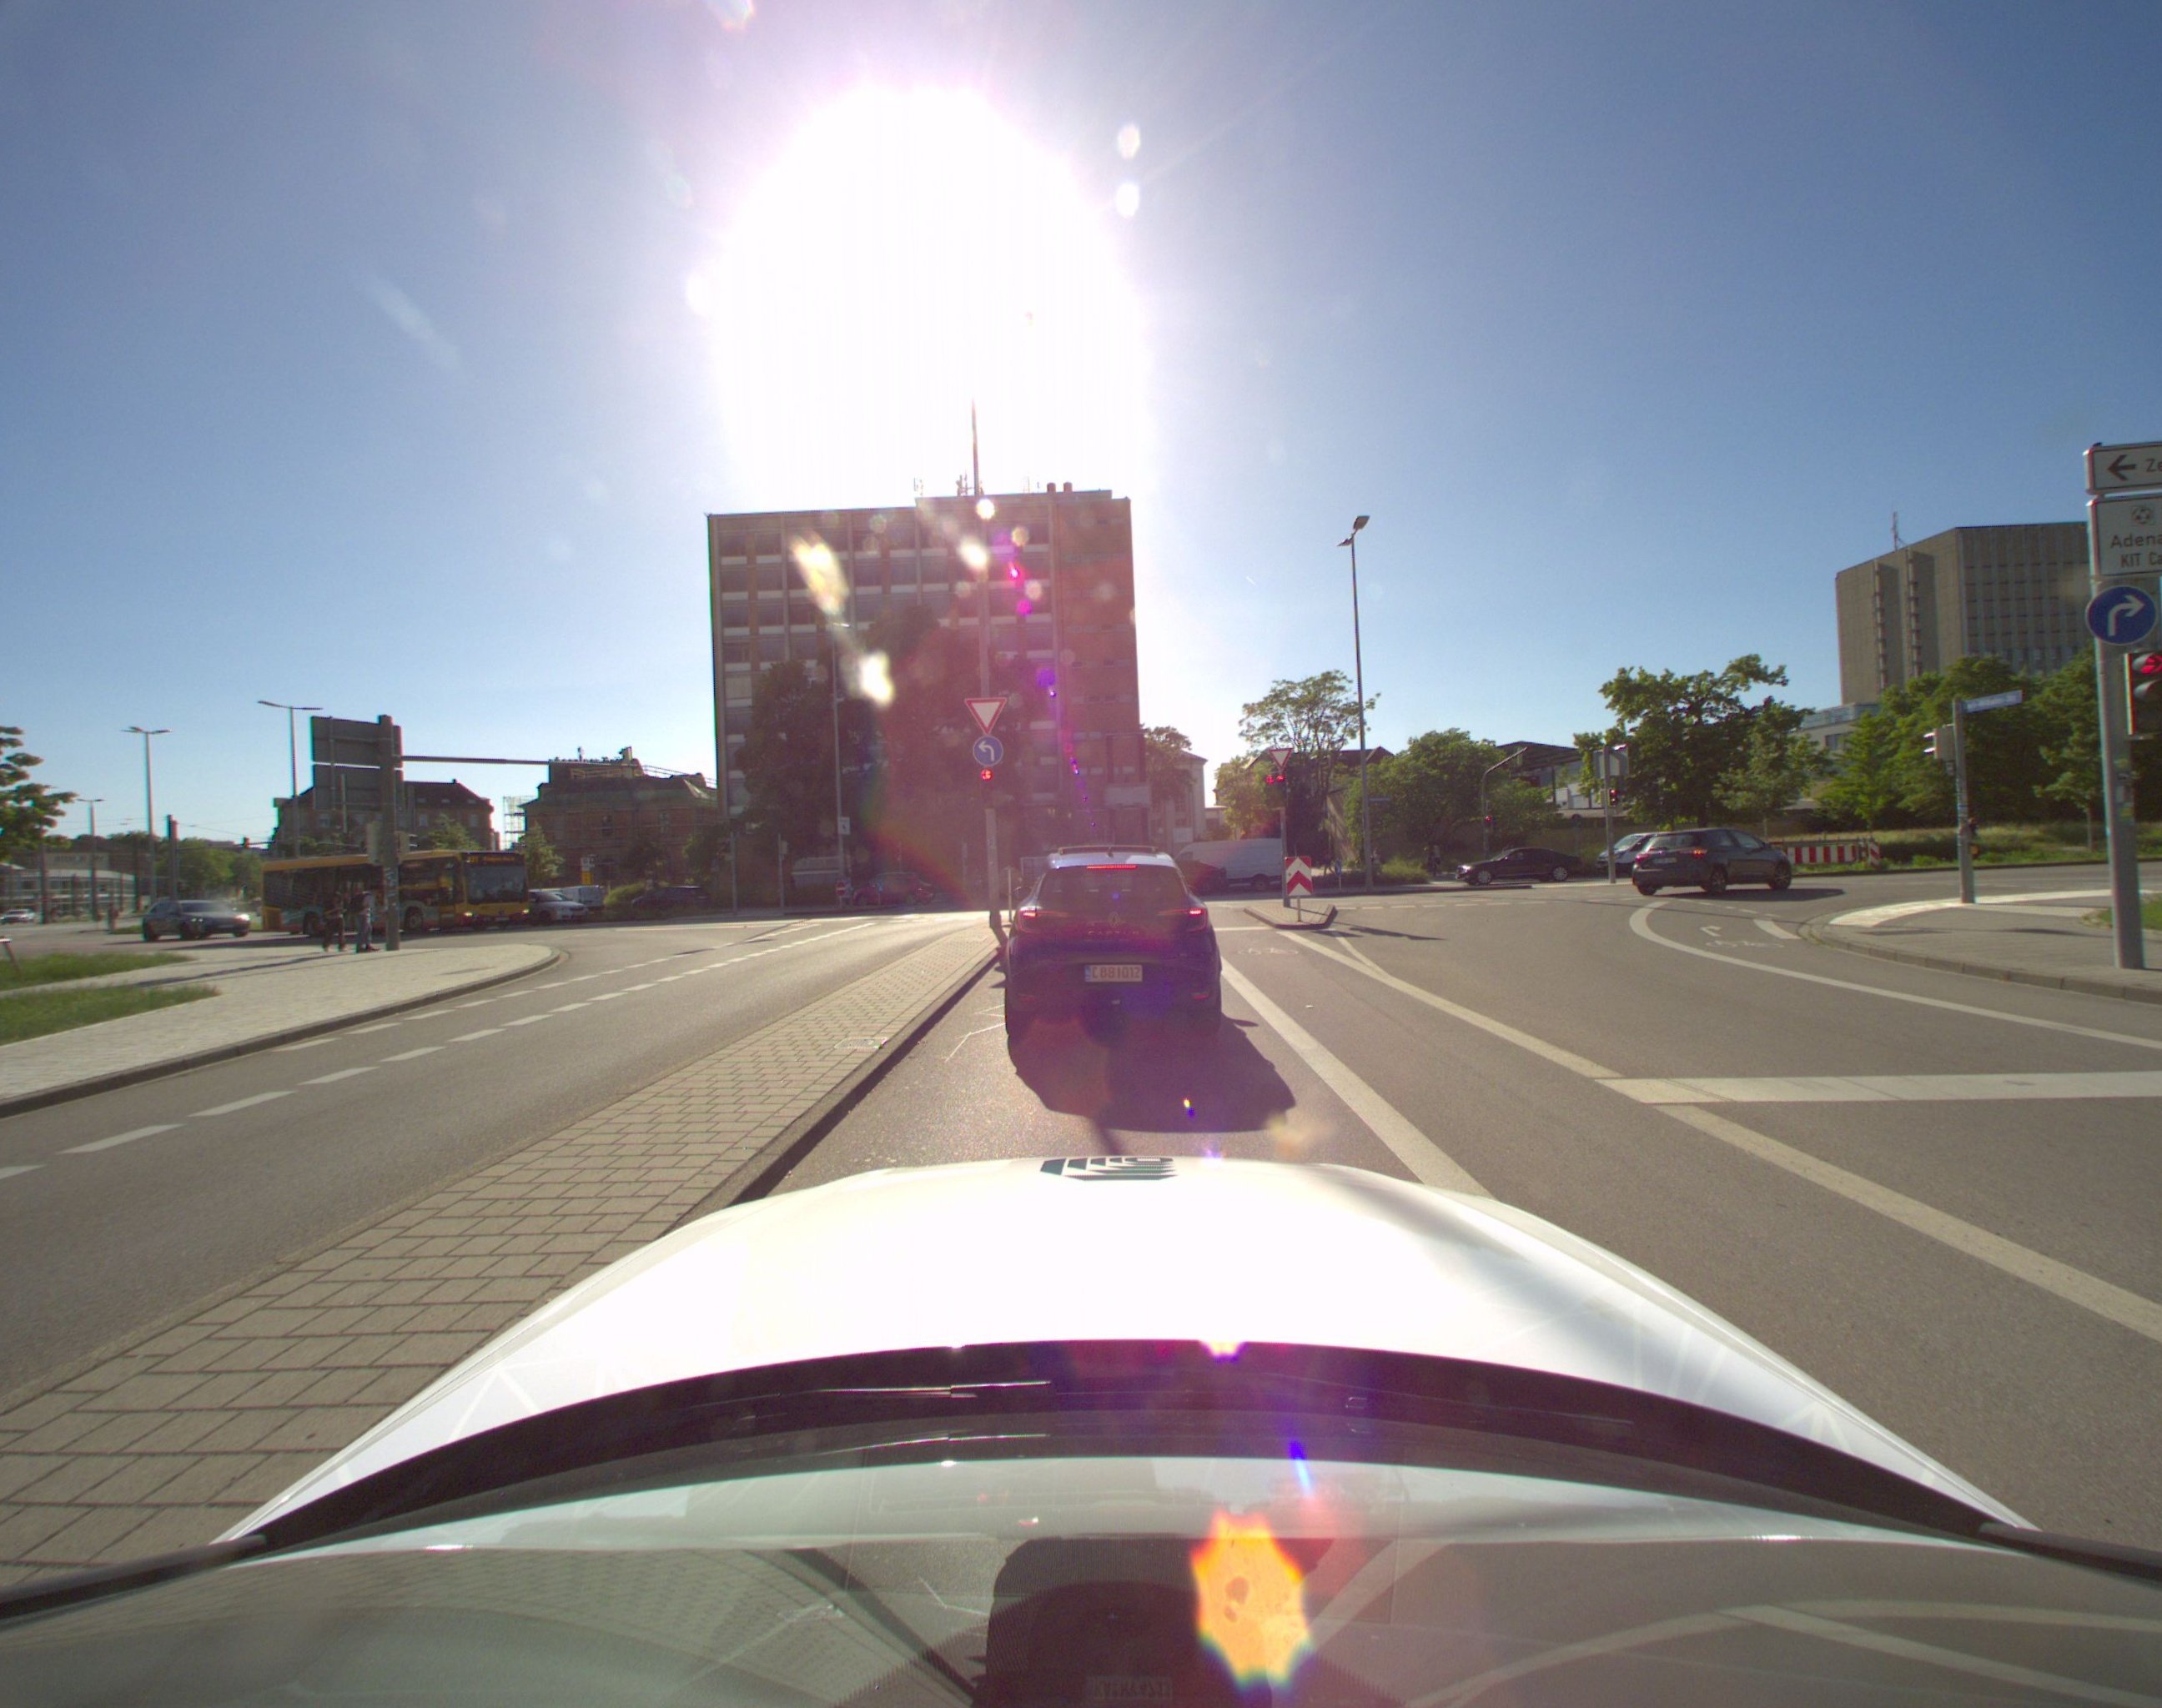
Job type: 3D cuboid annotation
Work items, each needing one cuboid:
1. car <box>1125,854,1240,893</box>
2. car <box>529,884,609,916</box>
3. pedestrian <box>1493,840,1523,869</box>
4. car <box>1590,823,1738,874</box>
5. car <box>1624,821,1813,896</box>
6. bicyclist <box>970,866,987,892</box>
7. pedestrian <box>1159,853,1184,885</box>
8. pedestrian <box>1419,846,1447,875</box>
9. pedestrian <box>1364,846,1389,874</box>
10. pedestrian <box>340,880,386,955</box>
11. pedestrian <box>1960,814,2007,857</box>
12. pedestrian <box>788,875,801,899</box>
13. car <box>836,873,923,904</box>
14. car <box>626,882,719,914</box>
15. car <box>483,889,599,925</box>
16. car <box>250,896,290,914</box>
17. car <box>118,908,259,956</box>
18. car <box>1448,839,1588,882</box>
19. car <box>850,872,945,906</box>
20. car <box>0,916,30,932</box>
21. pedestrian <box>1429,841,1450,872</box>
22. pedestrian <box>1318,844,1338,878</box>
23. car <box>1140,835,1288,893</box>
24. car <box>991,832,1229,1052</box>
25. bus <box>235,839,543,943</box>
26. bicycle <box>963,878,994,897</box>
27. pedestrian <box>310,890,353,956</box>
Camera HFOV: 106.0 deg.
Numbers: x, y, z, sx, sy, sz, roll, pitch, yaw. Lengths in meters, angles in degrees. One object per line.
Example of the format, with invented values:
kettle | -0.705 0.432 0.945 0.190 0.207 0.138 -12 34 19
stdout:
car | 4.574 0.927 36.769 5.001 1.673 2.004 -1 -3 8
car | -33.531 3.029 53.362 4.137 1.881 2.226 -2 0 19
pedestrian | 23.275 0.048 44.398 1.140 1.521 0.944 -2 0 7
car | 26.216 -0.244 36.808 4.967 2.013 2.078 -2 0 10
car | 14.886 0.077 19.014 4.005 1.516 1.729 -2 -1 -24
bicyclist | -5.844 1.426 46.369 0.641 1.412 0.642 -5 -3 30
pedestrian | 5.423 0.873 48.624 1.288 1.855 0.969 -2 0 13
pedestrian | 18.825 0.356 43.578 1.069 1.521 0.880 -2 0 6
pedestrian | 16.378 0.335 45.163 1.078 1.521 0.933 -2 0 11
pedestrian | -18.401 1.614 20.882 0.673 1.855 0.608 -3 -1 25
pedestrian | 45.322 -0.937 40.902 1.181 2.079 0.983 -2 0 5
pedestrian | -19.574 2.269 55.582 0.528 1.571 0.559 -3 -1 26
car | -10.968 1.869 44.377 4.013 1.439 2.075 -2 0 17
car | -21.755 2.332 43.418 3.874 1.448 2.109 -2 0 12
car | -22.274 2.179 33.658 3.816 1.403 1.899 -1 -3 14
car | -78.427 4.928 78.747 3.948 1.582 2.013 -1 -1 33
car | -40.054 3.480 36.583 4.697 1.861 2.011 -2 0 10
car | 18.596 0.291 34.847 4.816 1.582 2.106 -2 0 7
car | -8.993 1.710 40.070 4.018 1.439 2.072 -2 0 11
car | -125.134 8.165 95.558 3.948 1.706 1.916 -3 0 35
pedestrian | 20.069 0.139 45.663 0.955 1.732 0.930 -2 0 20
pedestrian | 14.059 0.401 46.330 0.926 1.855 0.809 -2 0 11
car | 6.659 0.497 40.452 6.887 2.547 3.024 -2 0 13
car | 0.252 0.662 8.130 1.788 1.655 3.853 -1 0 1
bus | -27.289 1.486 32.000 12.320 3.570 3.266 -2 0 19
bicycle | -5.836 1.920 46.353 0.691 1.007 1.880 -5 -3 31
pedestrian | -20.127 1.843 21.883 0.627 1.697 0.608 -3 -1 25
